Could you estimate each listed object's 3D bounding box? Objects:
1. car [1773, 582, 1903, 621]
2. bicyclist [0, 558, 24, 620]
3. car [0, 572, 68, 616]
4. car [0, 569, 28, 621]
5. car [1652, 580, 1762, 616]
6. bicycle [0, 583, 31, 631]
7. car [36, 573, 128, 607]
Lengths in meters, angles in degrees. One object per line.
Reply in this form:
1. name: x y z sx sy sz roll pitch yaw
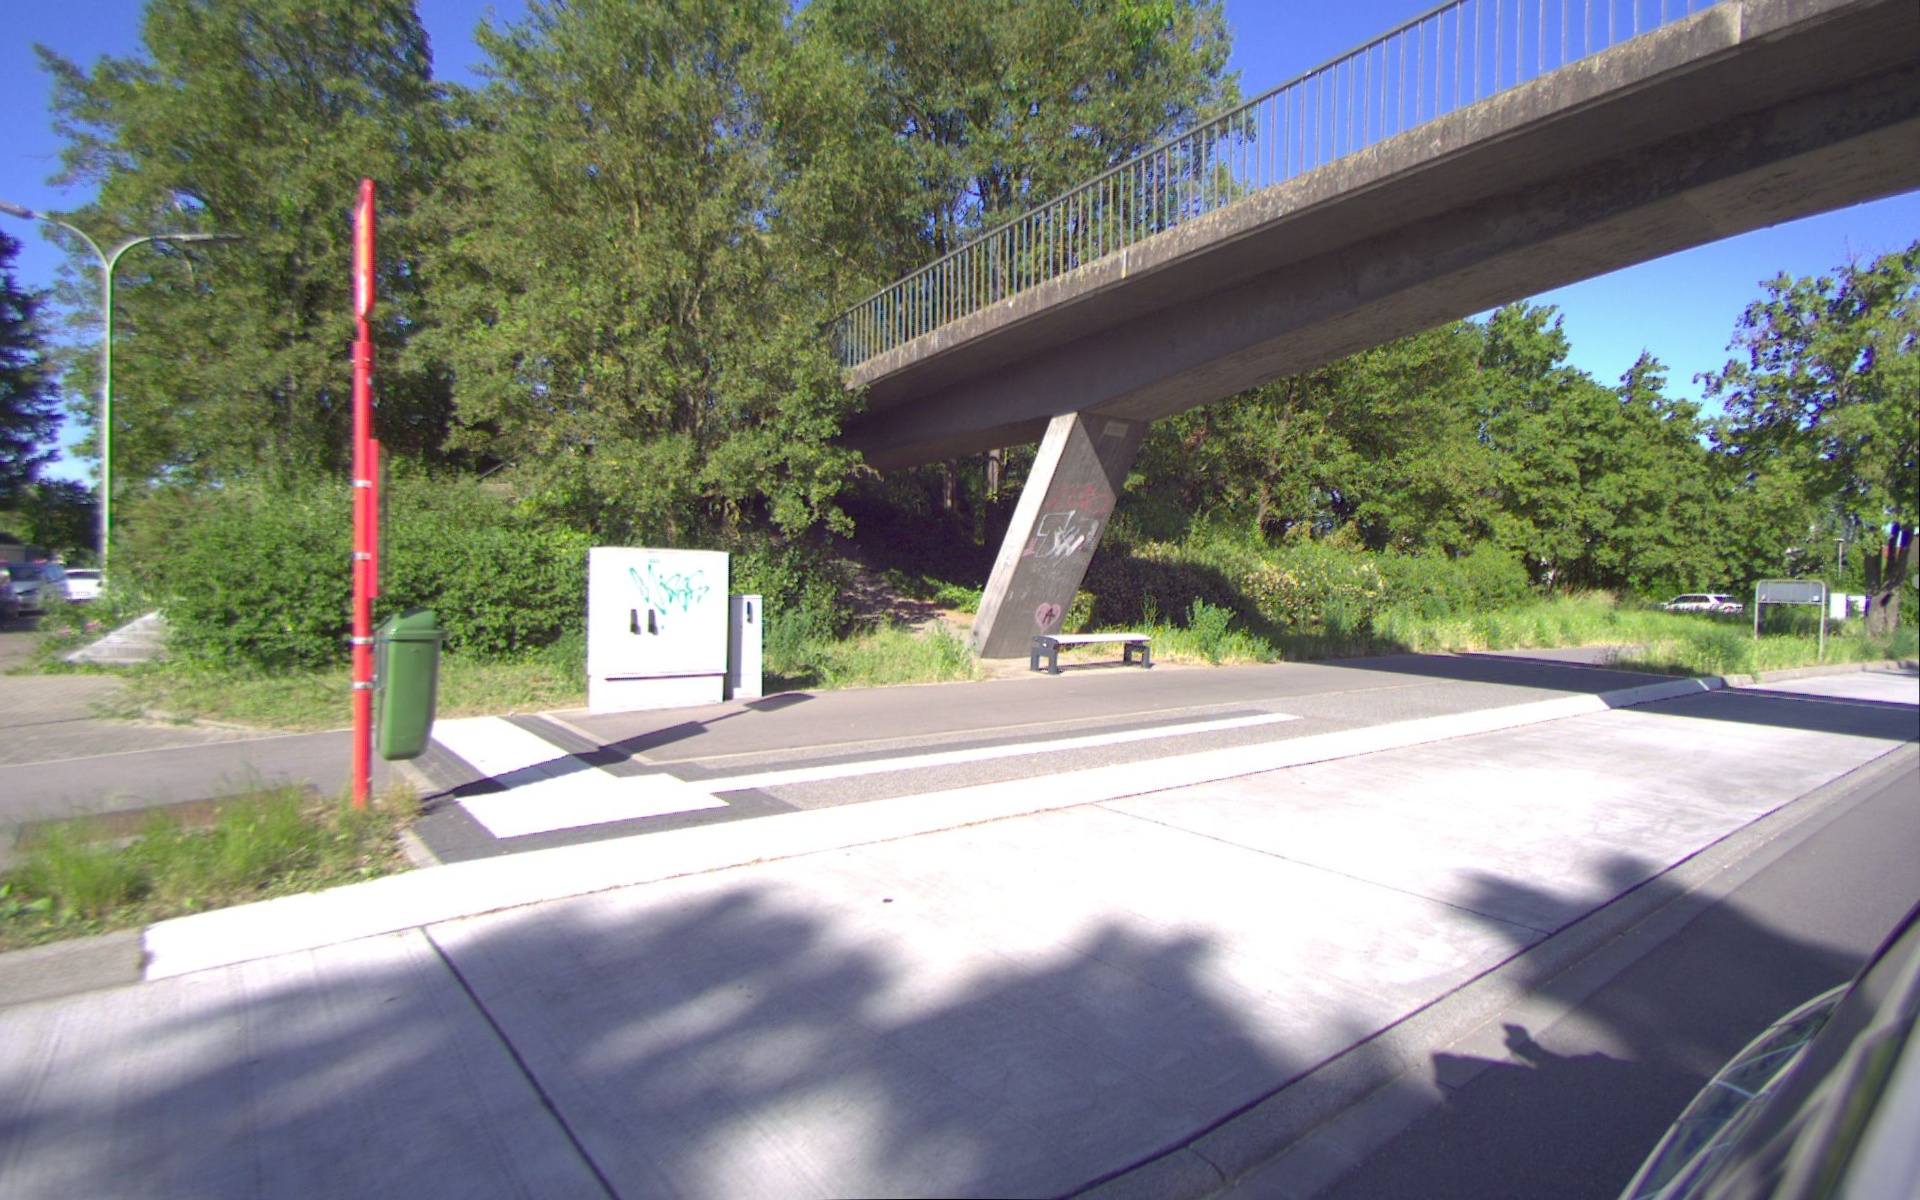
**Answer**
1. car: 45.023 0.037 52.001 1.894 1.824 4.650 2 0 -31
2. bicyclist: -22.358 -0.264 23.446 0.772 1.415 1.114 0 1 -31
3. car: -29.180 -0.215 31.054 2.028 1.191 3.723 0 2 -31
4. car: -26.782 -0.139 27.045 2.028 1.393 3.722 0 1 -31
5. car: 41.941 -0.148 56.909 2.030 1.892 4.537 2 0 -31
6. bicycle: -22.299 0.132 23.442 0.690 1.055 2.424 0 1 -31
7. car: -34.006 -0.417 39.304 2.028 1.191 3.723 0 2 -31
